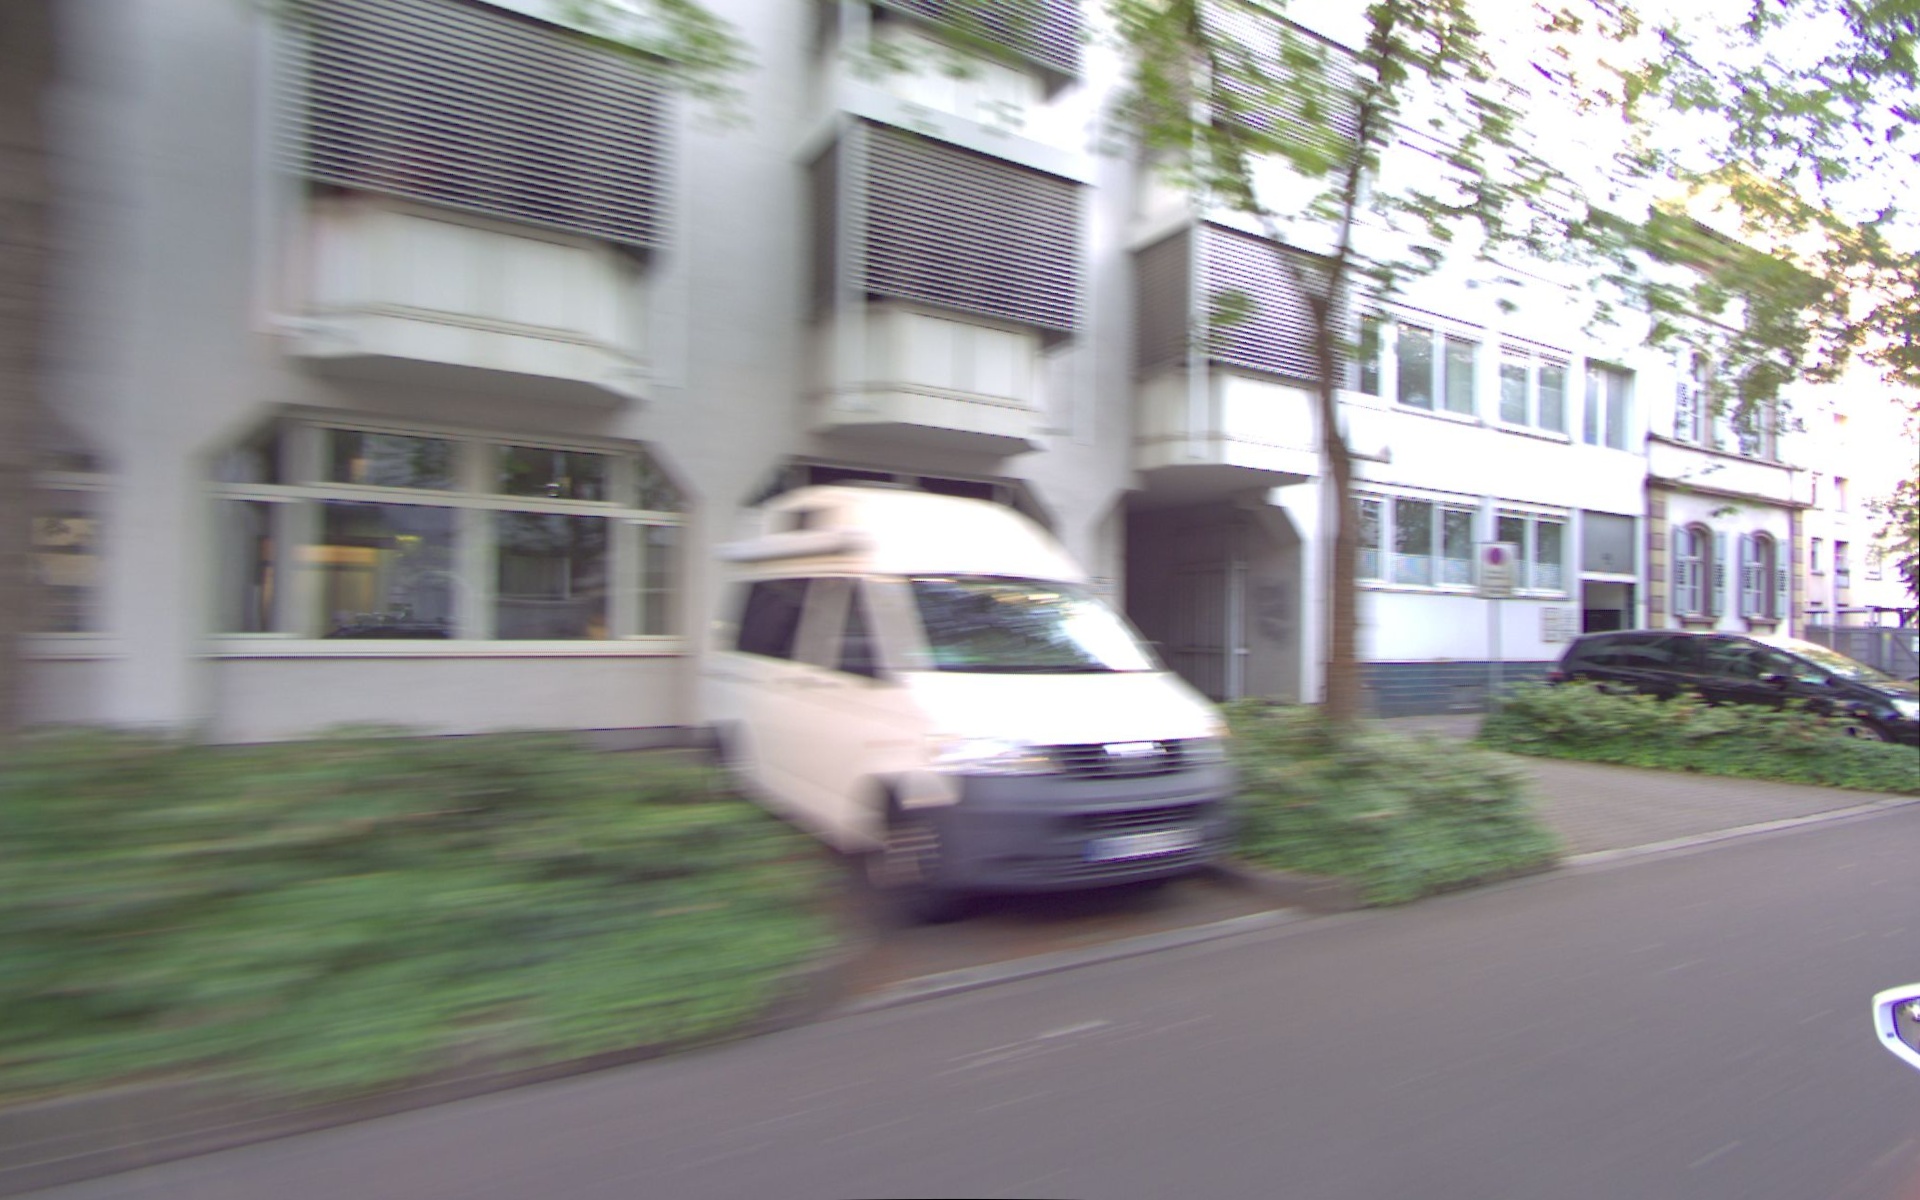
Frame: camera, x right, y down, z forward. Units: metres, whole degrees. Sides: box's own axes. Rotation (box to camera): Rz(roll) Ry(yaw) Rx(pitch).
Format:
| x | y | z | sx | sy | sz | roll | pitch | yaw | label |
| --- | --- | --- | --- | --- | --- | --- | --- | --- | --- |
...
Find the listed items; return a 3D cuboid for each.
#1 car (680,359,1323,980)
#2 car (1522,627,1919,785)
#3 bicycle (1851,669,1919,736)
| x | y | z | sx | sy | sz | roll | pitch | yaw | label |
| --- | --- | --- | --- | --- | --- | --- | --- | --- | --- |
| -0.228 | 0.340 | 6.917 | 2.096 | 2.607 | 4.980 | 2 | -1 | -30 | car |
| 10.332 | 1.223 | 13.131 | 2.134 | 1.643 | 4.832 | 2 | -1 | -29 | car |
| 12.742 | 1.354 | 13.124 | 0.605 | 0.841 | 1.547 | 2 | -1 | -26 | bicycle |
